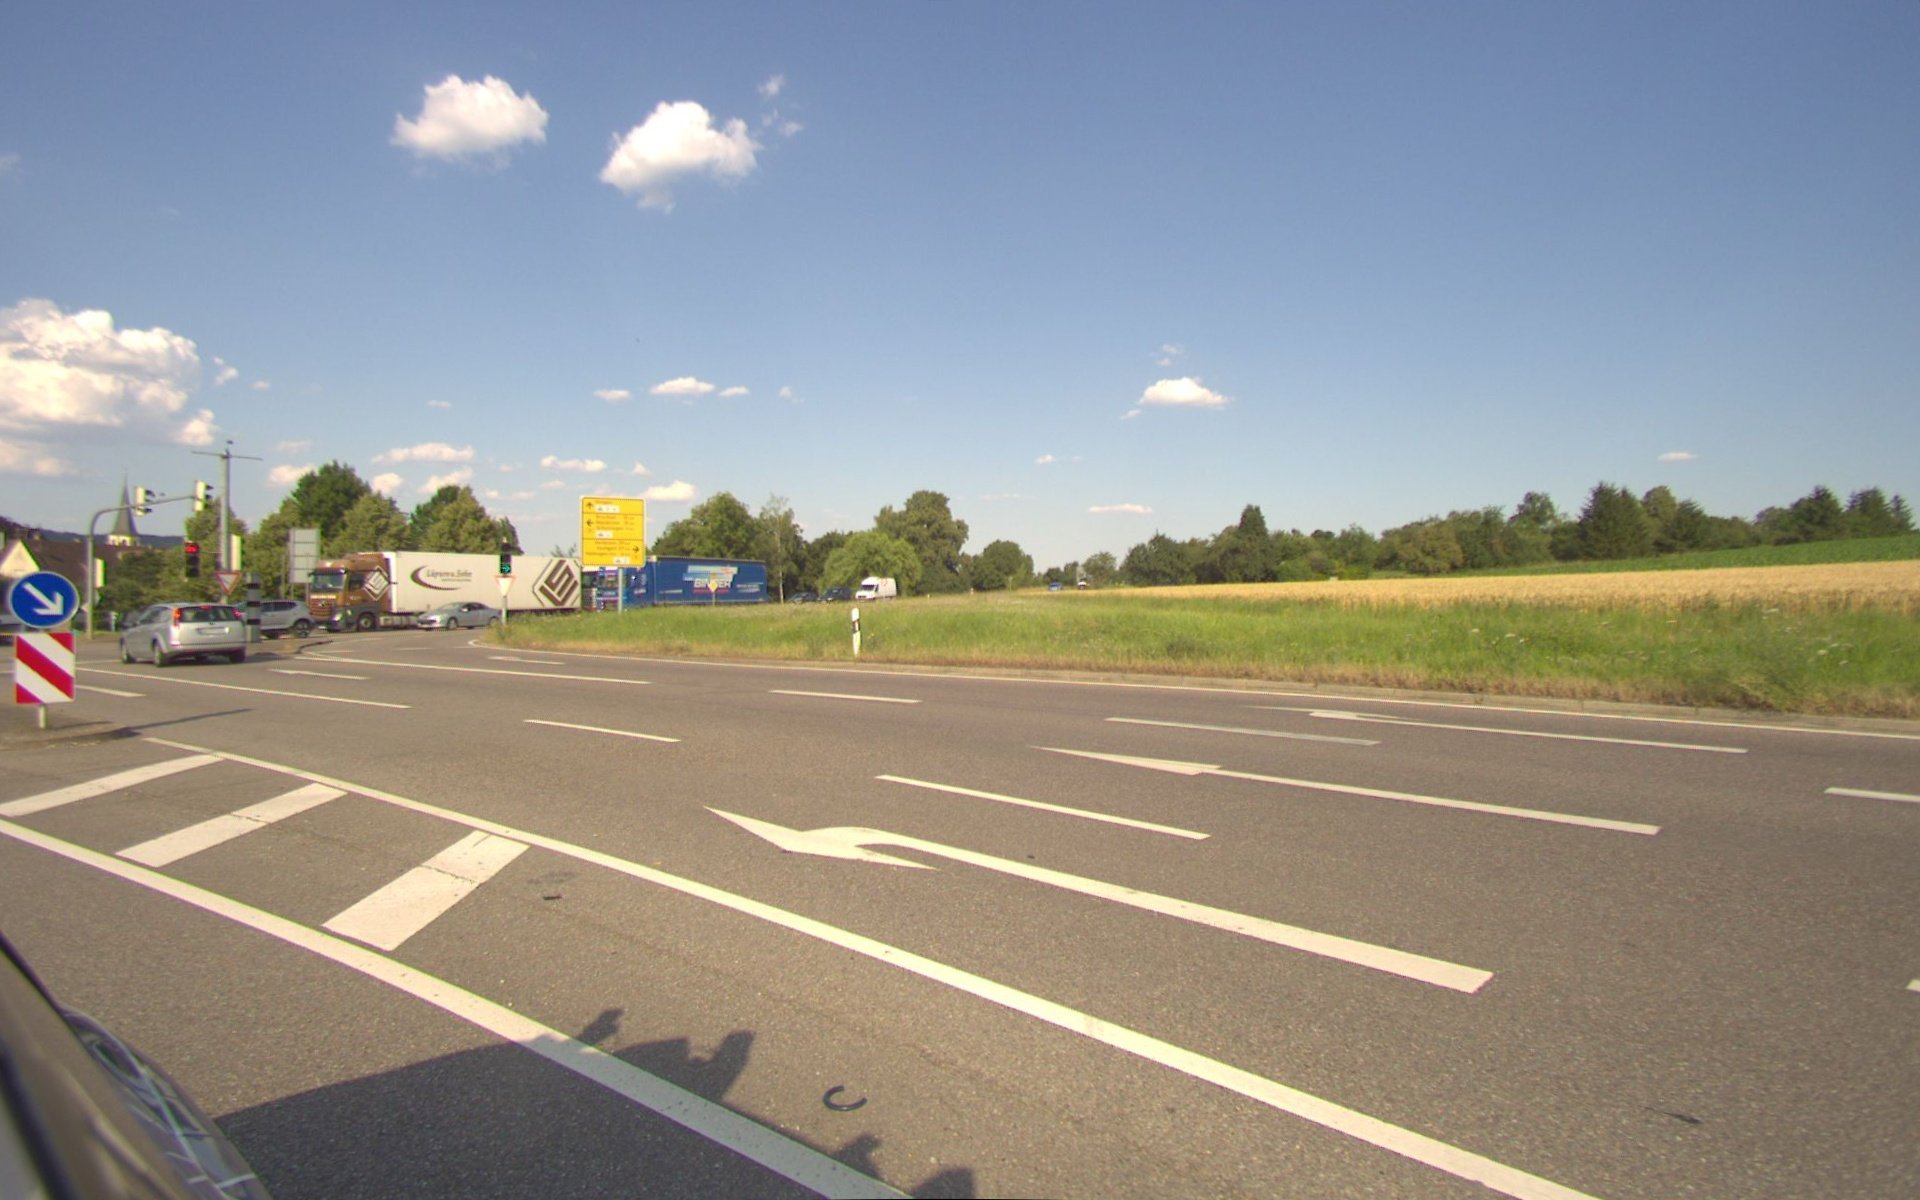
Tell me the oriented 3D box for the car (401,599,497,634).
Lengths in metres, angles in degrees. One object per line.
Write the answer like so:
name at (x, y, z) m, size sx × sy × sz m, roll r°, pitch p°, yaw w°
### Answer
car at (-25.514, 0.814, 50.676) m, size 1.985 × 1.497 × 3.974 m, roll -2°, pitch 1°, yaw 20°

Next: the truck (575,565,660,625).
truck at (-22.920, -0.349, 67.981) m, size 2.246 × 3.833 × 5.648 m, roll -2°, pitch 0°, yaw 20°

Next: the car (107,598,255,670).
car at (-19.249, 0.866, 24.948) m, size 4.346 × 1.540 × 1.798 m, roll -4°, pitch -1°, yaw 37°

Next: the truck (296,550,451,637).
truck at (-29.512, -0.340, 51.276) m, size 2.522 × 4.074 × 6.616 m, roll -2°, pitch 0°, yaw 21°

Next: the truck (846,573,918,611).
truck at (-8.189, -0.866, 109.340) m, size 2.512 × 3.802 × 12.810 m, roll -2°, pitch 0°, yaw 21°

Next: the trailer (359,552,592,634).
trailer at (-27.058, -0.401, 58.000) m, size 2.521 × 4.097 × 14.238 m, roll -2°, pitch 0°, yaw 20°

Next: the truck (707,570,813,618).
truck at (-17.039, -0.555, 87.639) m, size 2.512 × 3.802 × 12.810 m, roll -2°, pitch 0°, yaw 21°

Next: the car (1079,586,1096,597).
car at (23.715, -1.578, 188.496) m, size 1.988 × 2.029 × 3.968 m, roll -2°, pitch 0°, yaw 24°

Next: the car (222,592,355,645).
car at (-28.069, 0.719, 42.453) m, size 1.894 × 1.962 × 4.344 m, roll -2°, pitch 1°, yaw 20°

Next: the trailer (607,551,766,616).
trailer at (-18.617, -1.142, 70.551) m, size 3.393 × 4.035 × 13.659 m, roll -2°, pitch 0°, yaw 20°

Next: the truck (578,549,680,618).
truck at (-20.858, -1.033, 64.072) m, size 3.351 × 4.035 × 5.564 m, roll -2°, pitch 0°, yaw 20°

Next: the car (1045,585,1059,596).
car at (13.115, -1.374, 144.652) m, size 1.744 × 1.512 × 3.989 m, roll 0°, pitch 0°, yaw 8°
